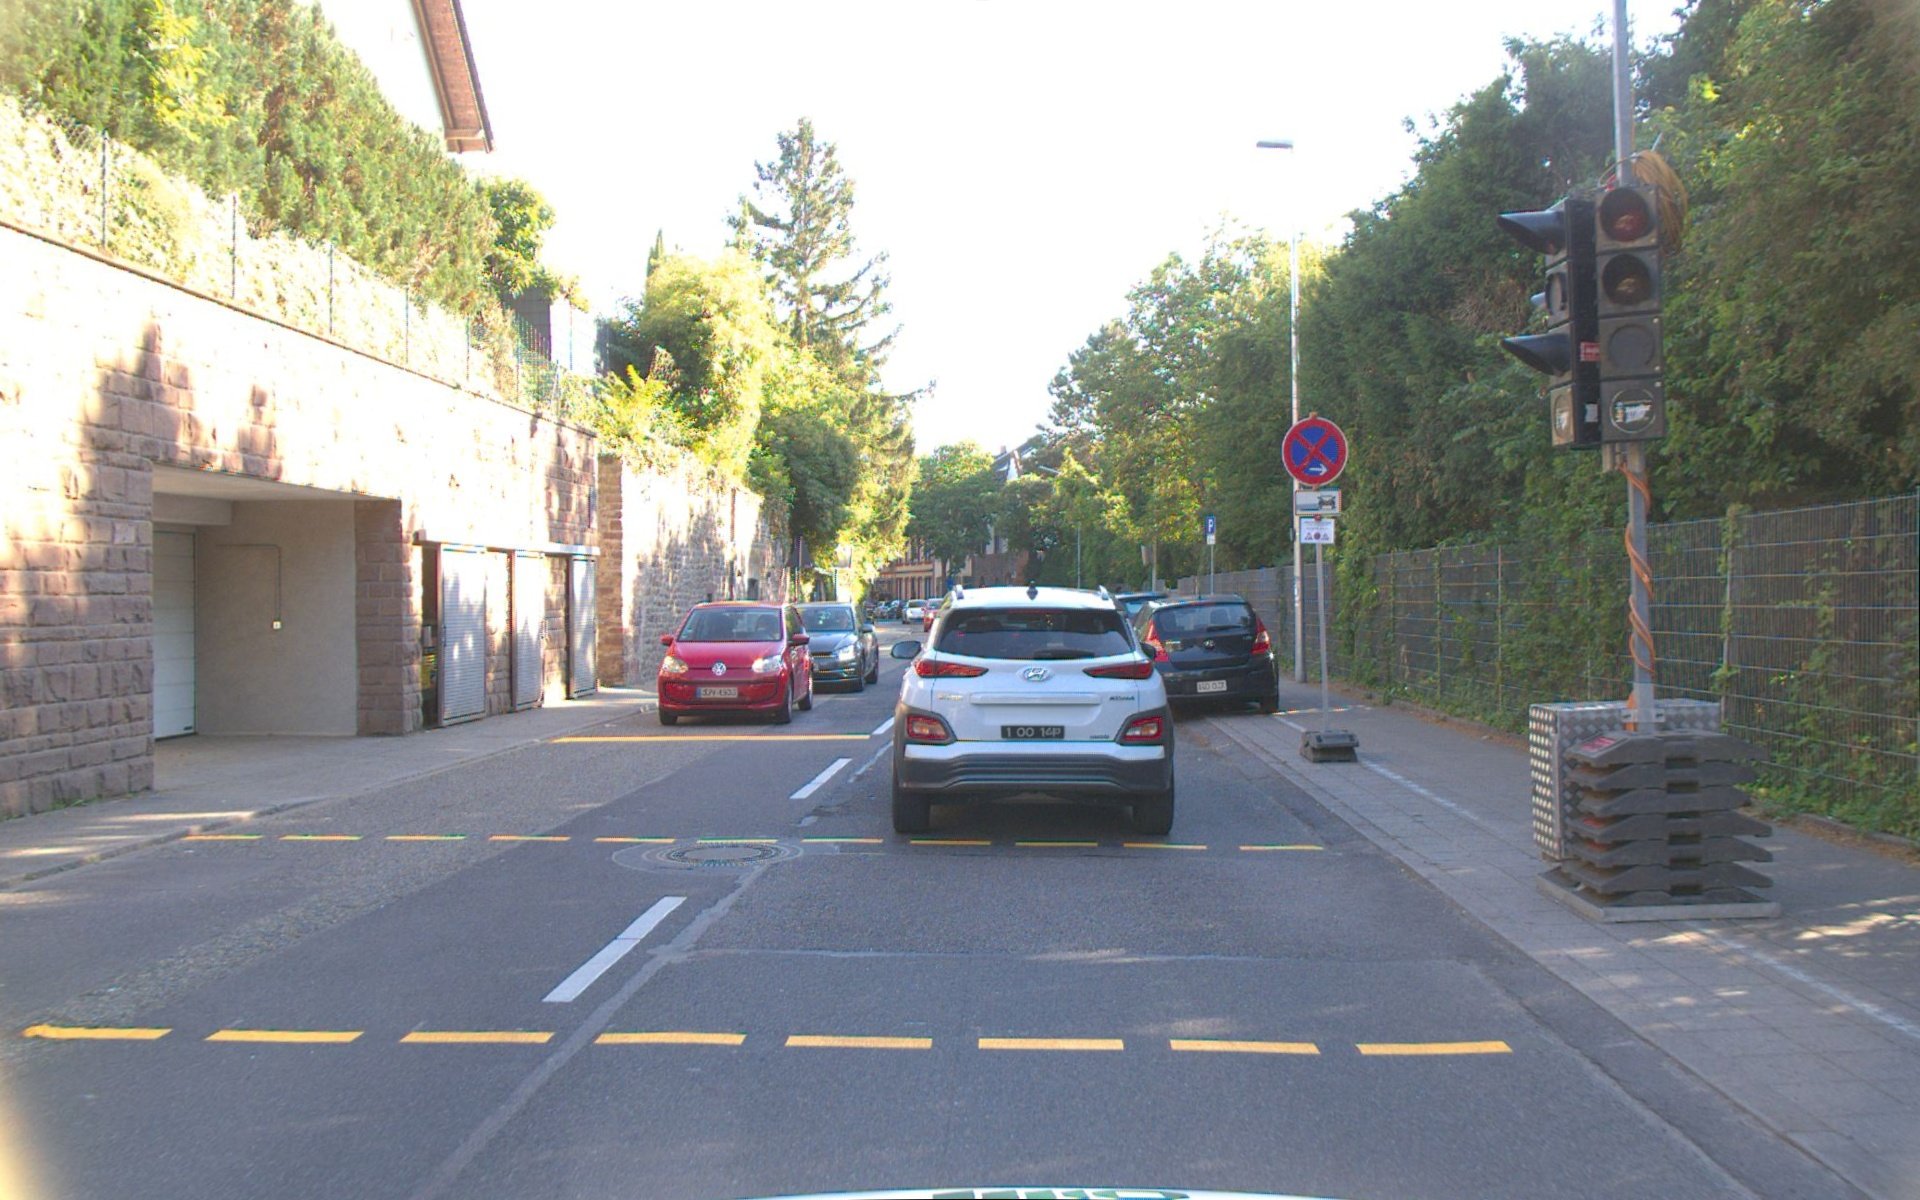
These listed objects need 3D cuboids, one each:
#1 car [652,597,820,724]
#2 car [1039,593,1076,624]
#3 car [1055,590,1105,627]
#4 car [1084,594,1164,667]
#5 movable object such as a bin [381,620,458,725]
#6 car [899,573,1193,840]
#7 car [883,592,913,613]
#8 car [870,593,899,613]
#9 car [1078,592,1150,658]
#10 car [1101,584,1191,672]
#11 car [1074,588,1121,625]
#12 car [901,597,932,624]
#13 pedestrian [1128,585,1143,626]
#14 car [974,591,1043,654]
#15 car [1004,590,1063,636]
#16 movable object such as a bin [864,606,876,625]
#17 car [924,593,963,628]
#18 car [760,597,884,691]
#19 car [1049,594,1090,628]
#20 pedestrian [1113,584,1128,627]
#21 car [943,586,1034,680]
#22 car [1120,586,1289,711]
[{"bbox_3d":[-2.759,0.704,21.069,1.593,1.447,3.563,-1,0,1],"label":"car"},{"bbox_3d":[5.090,0.445,86.482,1.561,1.515,3.601,-3,0,-2],"label":"car"},{"bbox_3d":[5.471,0.406,75.841,1.563,1.592,3.995,-2,0,-6],"label":"car"},{"bbox_3d":[3.723,0.656,38.010,1.674,1.524,4.816,2,0,5],"label":"car"},{"bbox_3d":[-6.362,0.841,19.490,0.644,1.196,0.666,-1,0,3],"label":"movable object such as a bin"},{"bbox_3d":[0.499,0.632,11.793,1.736,1.569,3.999,0,0,0],"label":"car"},{"bbox_3d":[-5.156,0.201,136.882,1.726,1.645,3.985,1,1,-14],"label":"car"},{"bbox_3d":[-6.461,0.219,141.758,1.726,1.645,3.985,1,1,-14],"label":"car"},{"bbox_3d":[3.892,0.607,42.111,1.591,1.536,2.904,-3,1,2],"label":"car"},{"bbox_3d":[3.521,0.519,31.704,1.618,1.591,2.874,-1,0,5],"label":"car"},{"bbox_3d":[5.857,0.258,70.776,1.652,1.456,4.000,-2,0,0],"label":"car"},{"bbox_3d":[-2.637,0.654,99.986,1.707,1.500,3.997,-4,-1,-3],"label":"car"},{"bbox_3d":[6.892,0.203,65.125,0.492,1.596,0.504,-3,0,3],"label":"pedestrian"},{"bbox_3d":[1.280,0.549,42.374,1.537,1.503,3.550,1,0,5],"label":"car"},{"bbox_3d":[2.600,0.431,57.723,1.657,1.560,3.885,0,0,8],"label":"car"},{"bbox_3d":[-4.819,0.835,88.593,0.485,1.029,1.113,1,-1,2],"label":"movable object such as a bin"},{"bbox_3d":[-0.718,0.461,75.102,1.518,1.492,3.570,-2,0,3],"label":"car"},{"bbox_3d":[-2.248,0.686,27.801,1.615,1.435,3.932,-1,0,2],"label":"car"},{"bbox_3d":[5.349,0.558,80.871,1.561,1.545,3.931,-3,0,-2],"label":"car"},{"bbox_3d":[6.333,0.219,65.192,0.492,1.634,0.491,-3,0,3],"label":"pedestrian"},{"bbox_3d":[0.551,0.533,29.317,1.480,1.560,3.549,-1,0,3],"label":"car"},{"bbox_3d":[3.090,0.572,21.630,1.757,1.466,4.001,-1,0,2],"label":"car"}]
